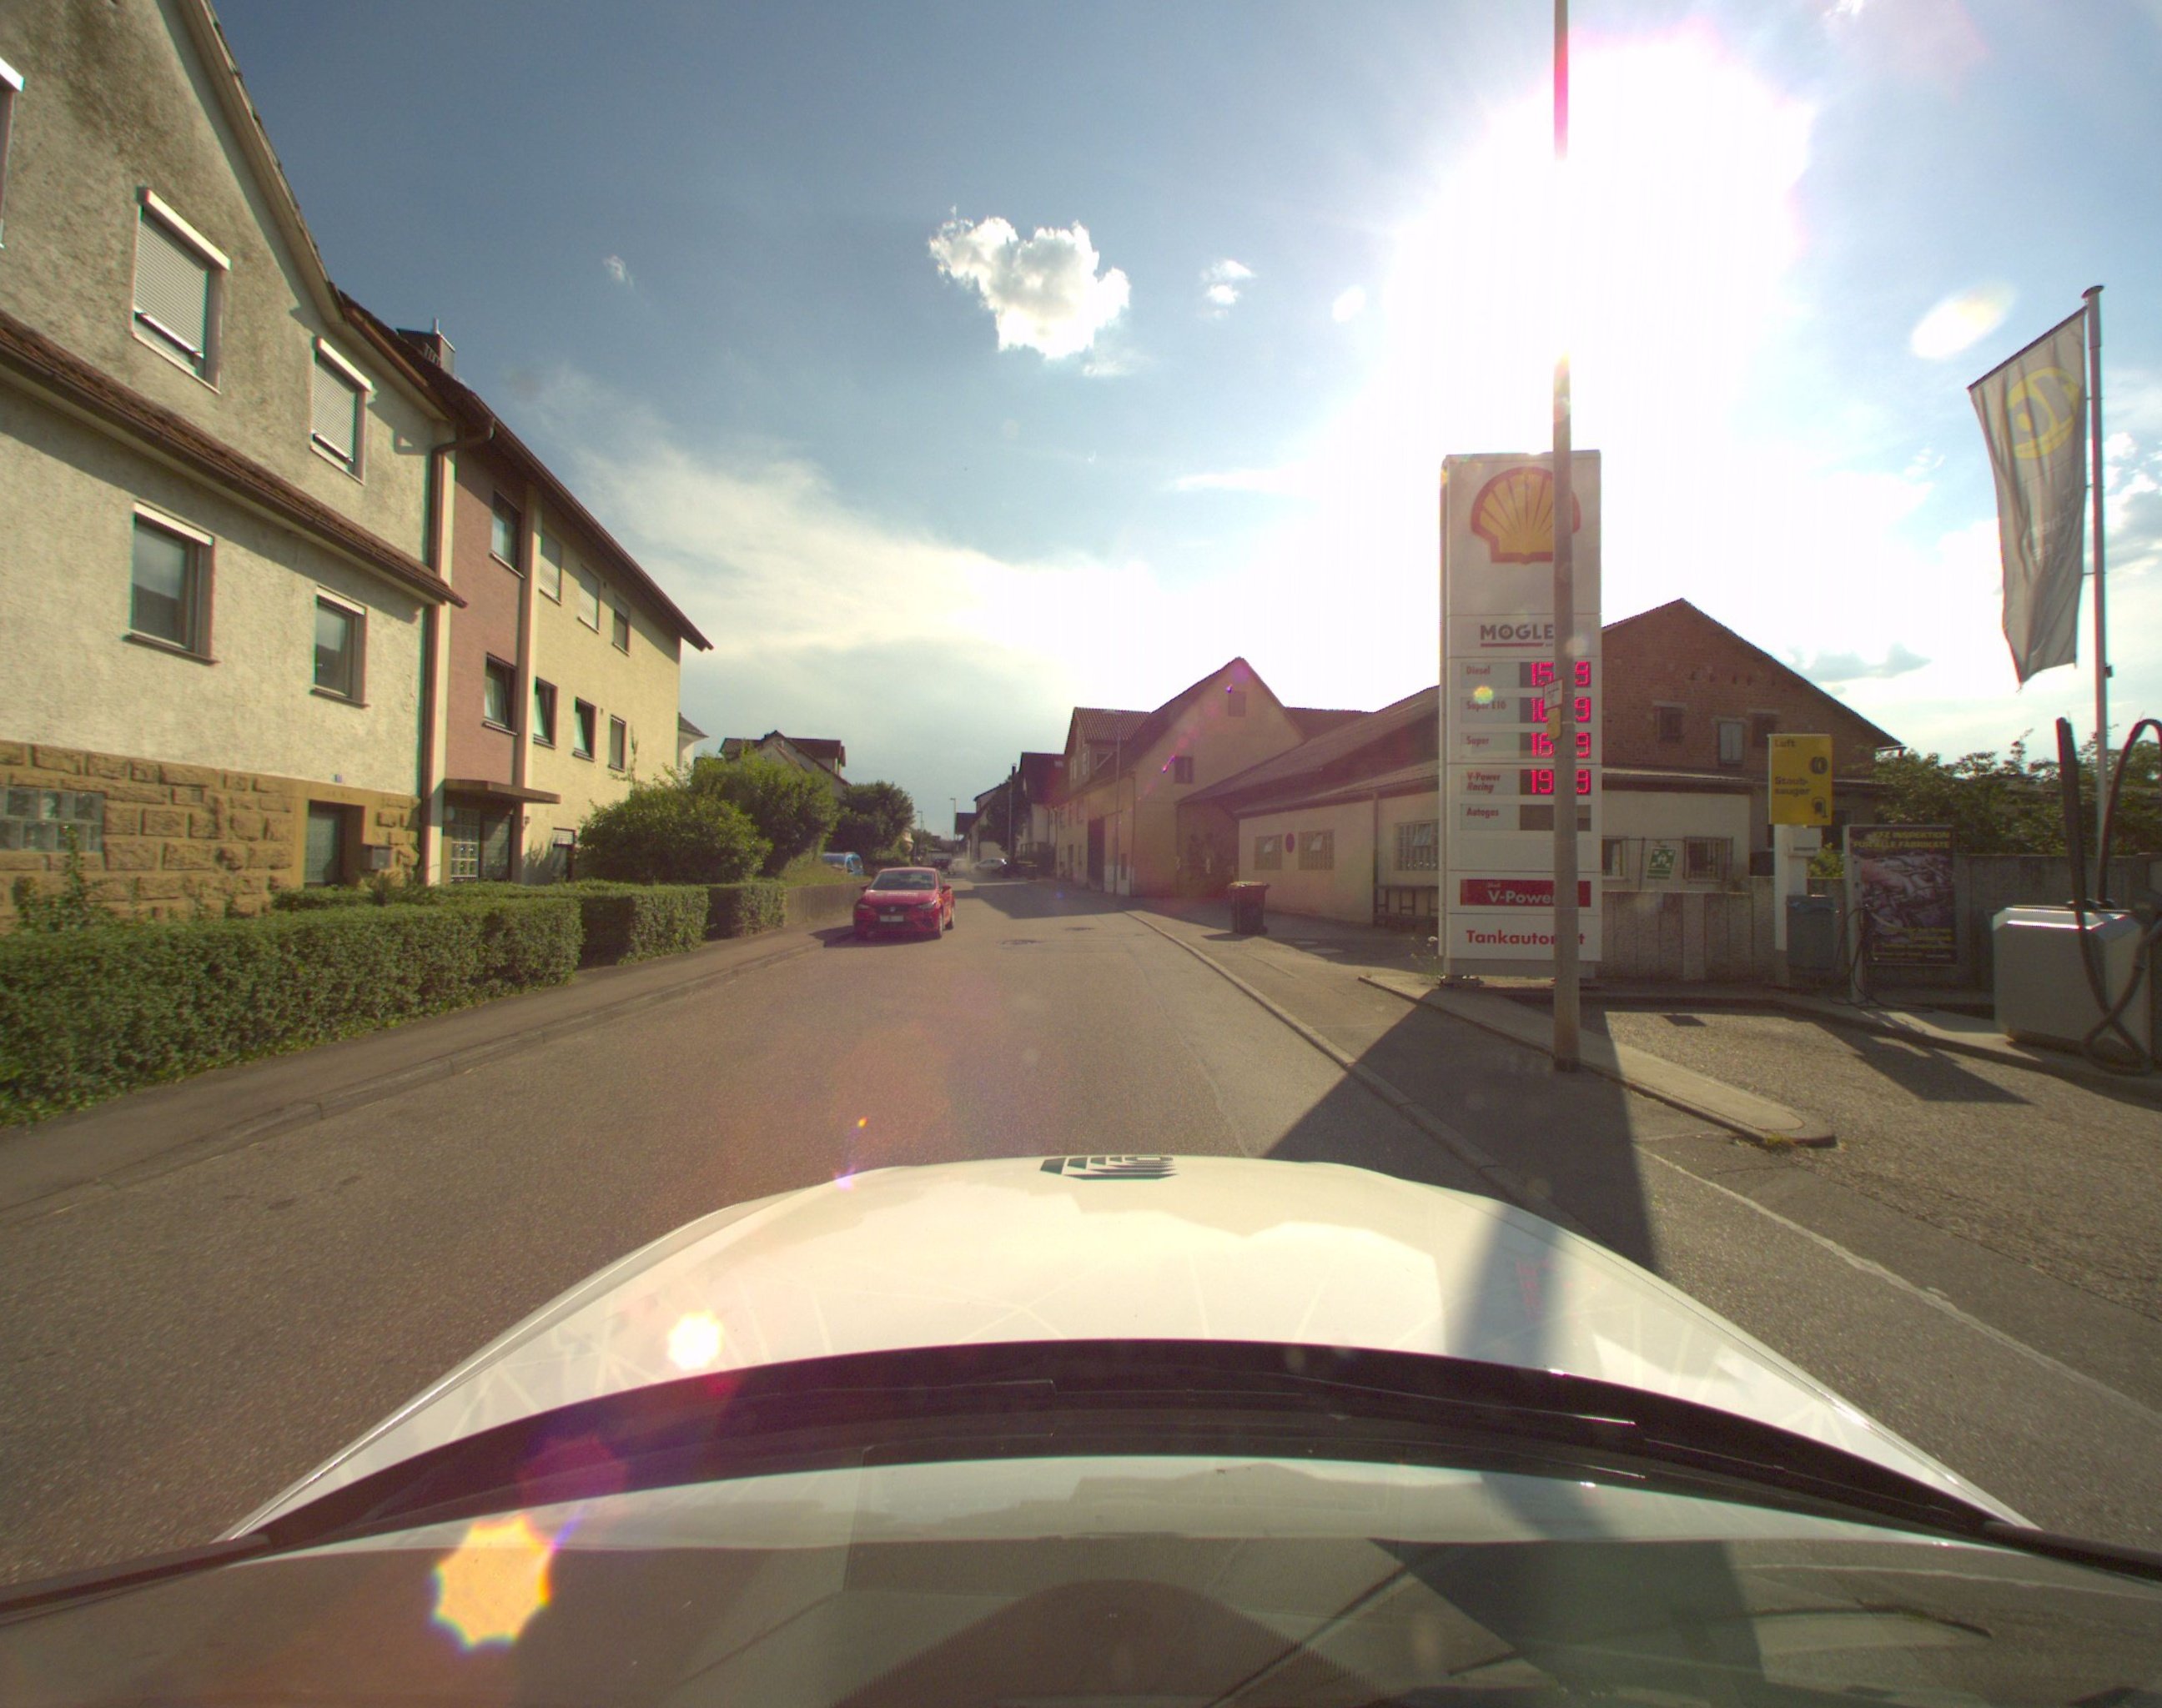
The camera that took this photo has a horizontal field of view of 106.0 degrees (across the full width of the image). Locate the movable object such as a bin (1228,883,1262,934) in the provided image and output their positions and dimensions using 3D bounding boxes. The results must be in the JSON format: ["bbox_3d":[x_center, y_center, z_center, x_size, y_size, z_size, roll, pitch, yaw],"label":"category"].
[{"bbox_3d":[3.555,1.182,17.684,0.650,1.073,0.513,0,-1,0],"label":"movable object such as a bin"}]

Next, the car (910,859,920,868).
[{"bbox_3d":[-31.420,1.840,154.360,1.706,1.551,3.984,1,-1,-11],"label":"car"}]

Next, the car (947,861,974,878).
[{"bbox_3d":[-11.480,1.484,77.449,1.711,1.579,3.972,1,-1,-21],"label":"car"}]

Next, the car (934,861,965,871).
[{"bbox_3d":[-17.141,1.559,106.233,3.990,1.352,1.703,1,-1,-12],"label":"car"}]

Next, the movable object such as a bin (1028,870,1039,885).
[{"bbox_3d":[-3.301,1.631,56.361,0.653,1.073,0.511,1,-1,-13],"label":"movable object such as a bin"}]

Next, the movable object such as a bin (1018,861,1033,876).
[{"bbox_3d":[-4.542,1.194,66.521,1.160,1.168,0.653,1,-1,-9],"label":"movable object such as a bin"}]

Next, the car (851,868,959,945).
[{"bbox_3d":[-3.656,1.053,17.527,1.705,1.435,3.774,-1,-1,-4],"label":"car"}]

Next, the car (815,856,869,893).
[{"bbox_3d":[-9.479,0.830,32.475,1.356,1.372,3.191,-1,-1,-4],"label":"car"}]

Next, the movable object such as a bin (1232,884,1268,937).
[{"bbox_3d":[3.550,1.185,17.142,0.650,1.073,0.513,0,-1,0],"label":"movable object such as a bin"}]

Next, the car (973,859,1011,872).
[{"bbox_3d":[-9.466,1.233,87.167,3.981,1.352,1.707,0,-1,-6],"label":"car"}]

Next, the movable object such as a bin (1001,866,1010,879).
[{"bbox_3d":[-6.014,1.466,65.099,0.653,1.073,0.511,1,-1,-13],"label":"movable object such as a bin"}]

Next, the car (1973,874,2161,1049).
[{"bbox_3d":[9.650,0.895,5.957,1.572,1.427,4.382,1,-1,2],"label":"car"}]
